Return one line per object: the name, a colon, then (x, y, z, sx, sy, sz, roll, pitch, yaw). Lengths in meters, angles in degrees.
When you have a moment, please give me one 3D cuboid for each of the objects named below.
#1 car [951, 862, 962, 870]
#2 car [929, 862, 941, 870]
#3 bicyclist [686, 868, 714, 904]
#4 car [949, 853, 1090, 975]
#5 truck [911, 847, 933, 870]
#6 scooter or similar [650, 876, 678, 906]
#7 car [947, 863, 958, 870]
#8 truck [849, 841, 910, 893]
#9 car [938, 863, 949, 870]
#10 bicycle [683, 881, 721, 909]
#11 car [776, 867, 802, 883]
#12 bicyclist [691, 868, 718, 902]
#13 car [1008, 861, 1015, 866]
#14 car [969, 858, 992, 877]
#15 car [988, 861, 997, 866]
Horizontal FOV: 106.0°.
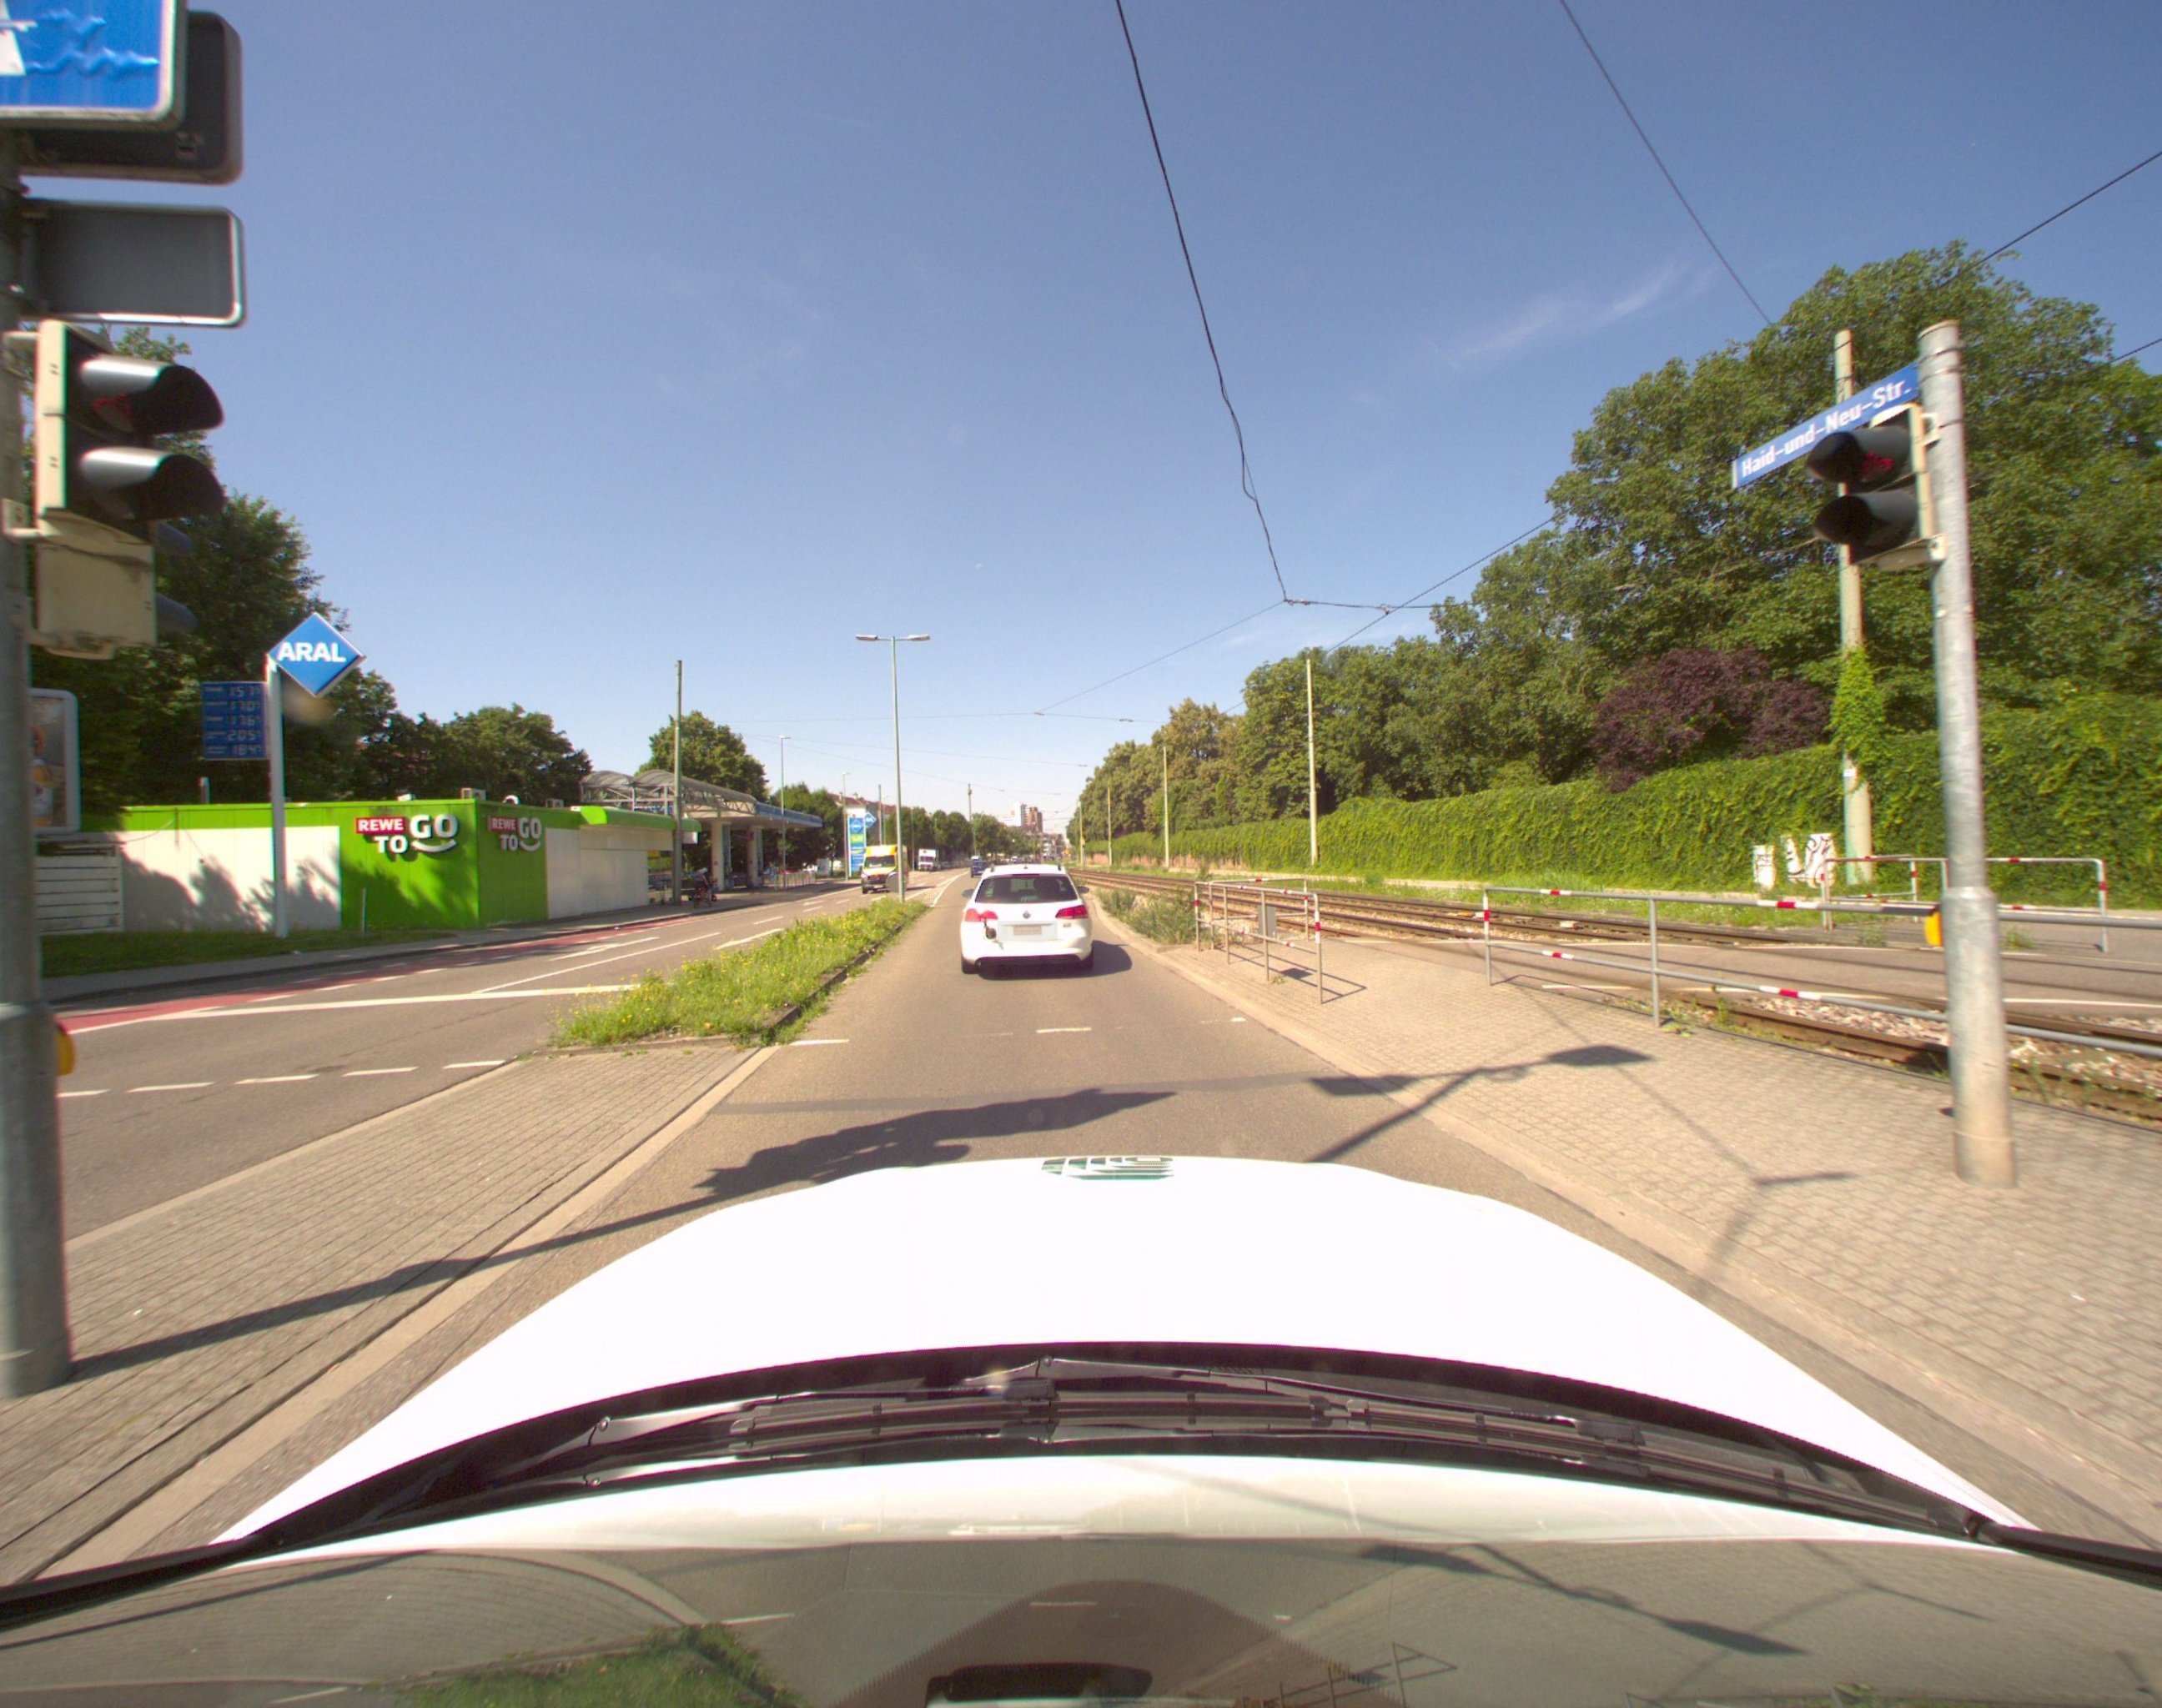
car: (-27.509, 2.672, 179.761, 1.765, 1.723, 4.864, 0, -1, -3)
car: (-25.654, 2.139, 143.125, 1.755, 1.429, 4.272, -1, -1, -6)
bicyclist: (-16.336, 1.361, 34.907, 0.847, 1.435, 0.830, -1, 1, -10)
car: (-0.969, 0.749, 12.160, 1.689, 1.451, 4.449, -1, -1, -6)
truck: (-25.462, 0.712, 130.958, 2.663, 3.530, 8.572, -1, -1, -6)
scooter or similar: (-18.693, 1.654, 36.519, 0.439, 1.237, 1.346, -2, 0, 3)
car: (-27.520, 2.669, 174.218, 1.712, 1.625, 4.309, -1, -1, -2)
truck: (-11.654, 0.727, 47.689, 2.327, 2.668, 7.344, -3, 0, -6)
car: (-27.303, 2.513, 161.559, 1.778, 1.483, 4.848, -1, -1, -5)
bicycle: (-16.536, 1.763, 35.594, 0.826, 1.094, 2.761, -3, 0, -12)
car: (-33.853, 2.437, 94.495, 1.798, 1.570, 4.507, -2, 1, -7)
bicyclist: (-16.482, 1.343, 35.666, 0.847, 1.436, 0.829, -2, 0, -11)
car: (-21.523, 2.909, 252.619, 1.654, 1.420, 4.307, -4, 0, -1)
car: (-8.810, 1.160, 71.306, 1.798, 1.507, 3.993, -1, 0, -5)
car: (-25.489, 2.806, 234.766, 1.691, 1.417, 4.006, -2, -1, 5)
